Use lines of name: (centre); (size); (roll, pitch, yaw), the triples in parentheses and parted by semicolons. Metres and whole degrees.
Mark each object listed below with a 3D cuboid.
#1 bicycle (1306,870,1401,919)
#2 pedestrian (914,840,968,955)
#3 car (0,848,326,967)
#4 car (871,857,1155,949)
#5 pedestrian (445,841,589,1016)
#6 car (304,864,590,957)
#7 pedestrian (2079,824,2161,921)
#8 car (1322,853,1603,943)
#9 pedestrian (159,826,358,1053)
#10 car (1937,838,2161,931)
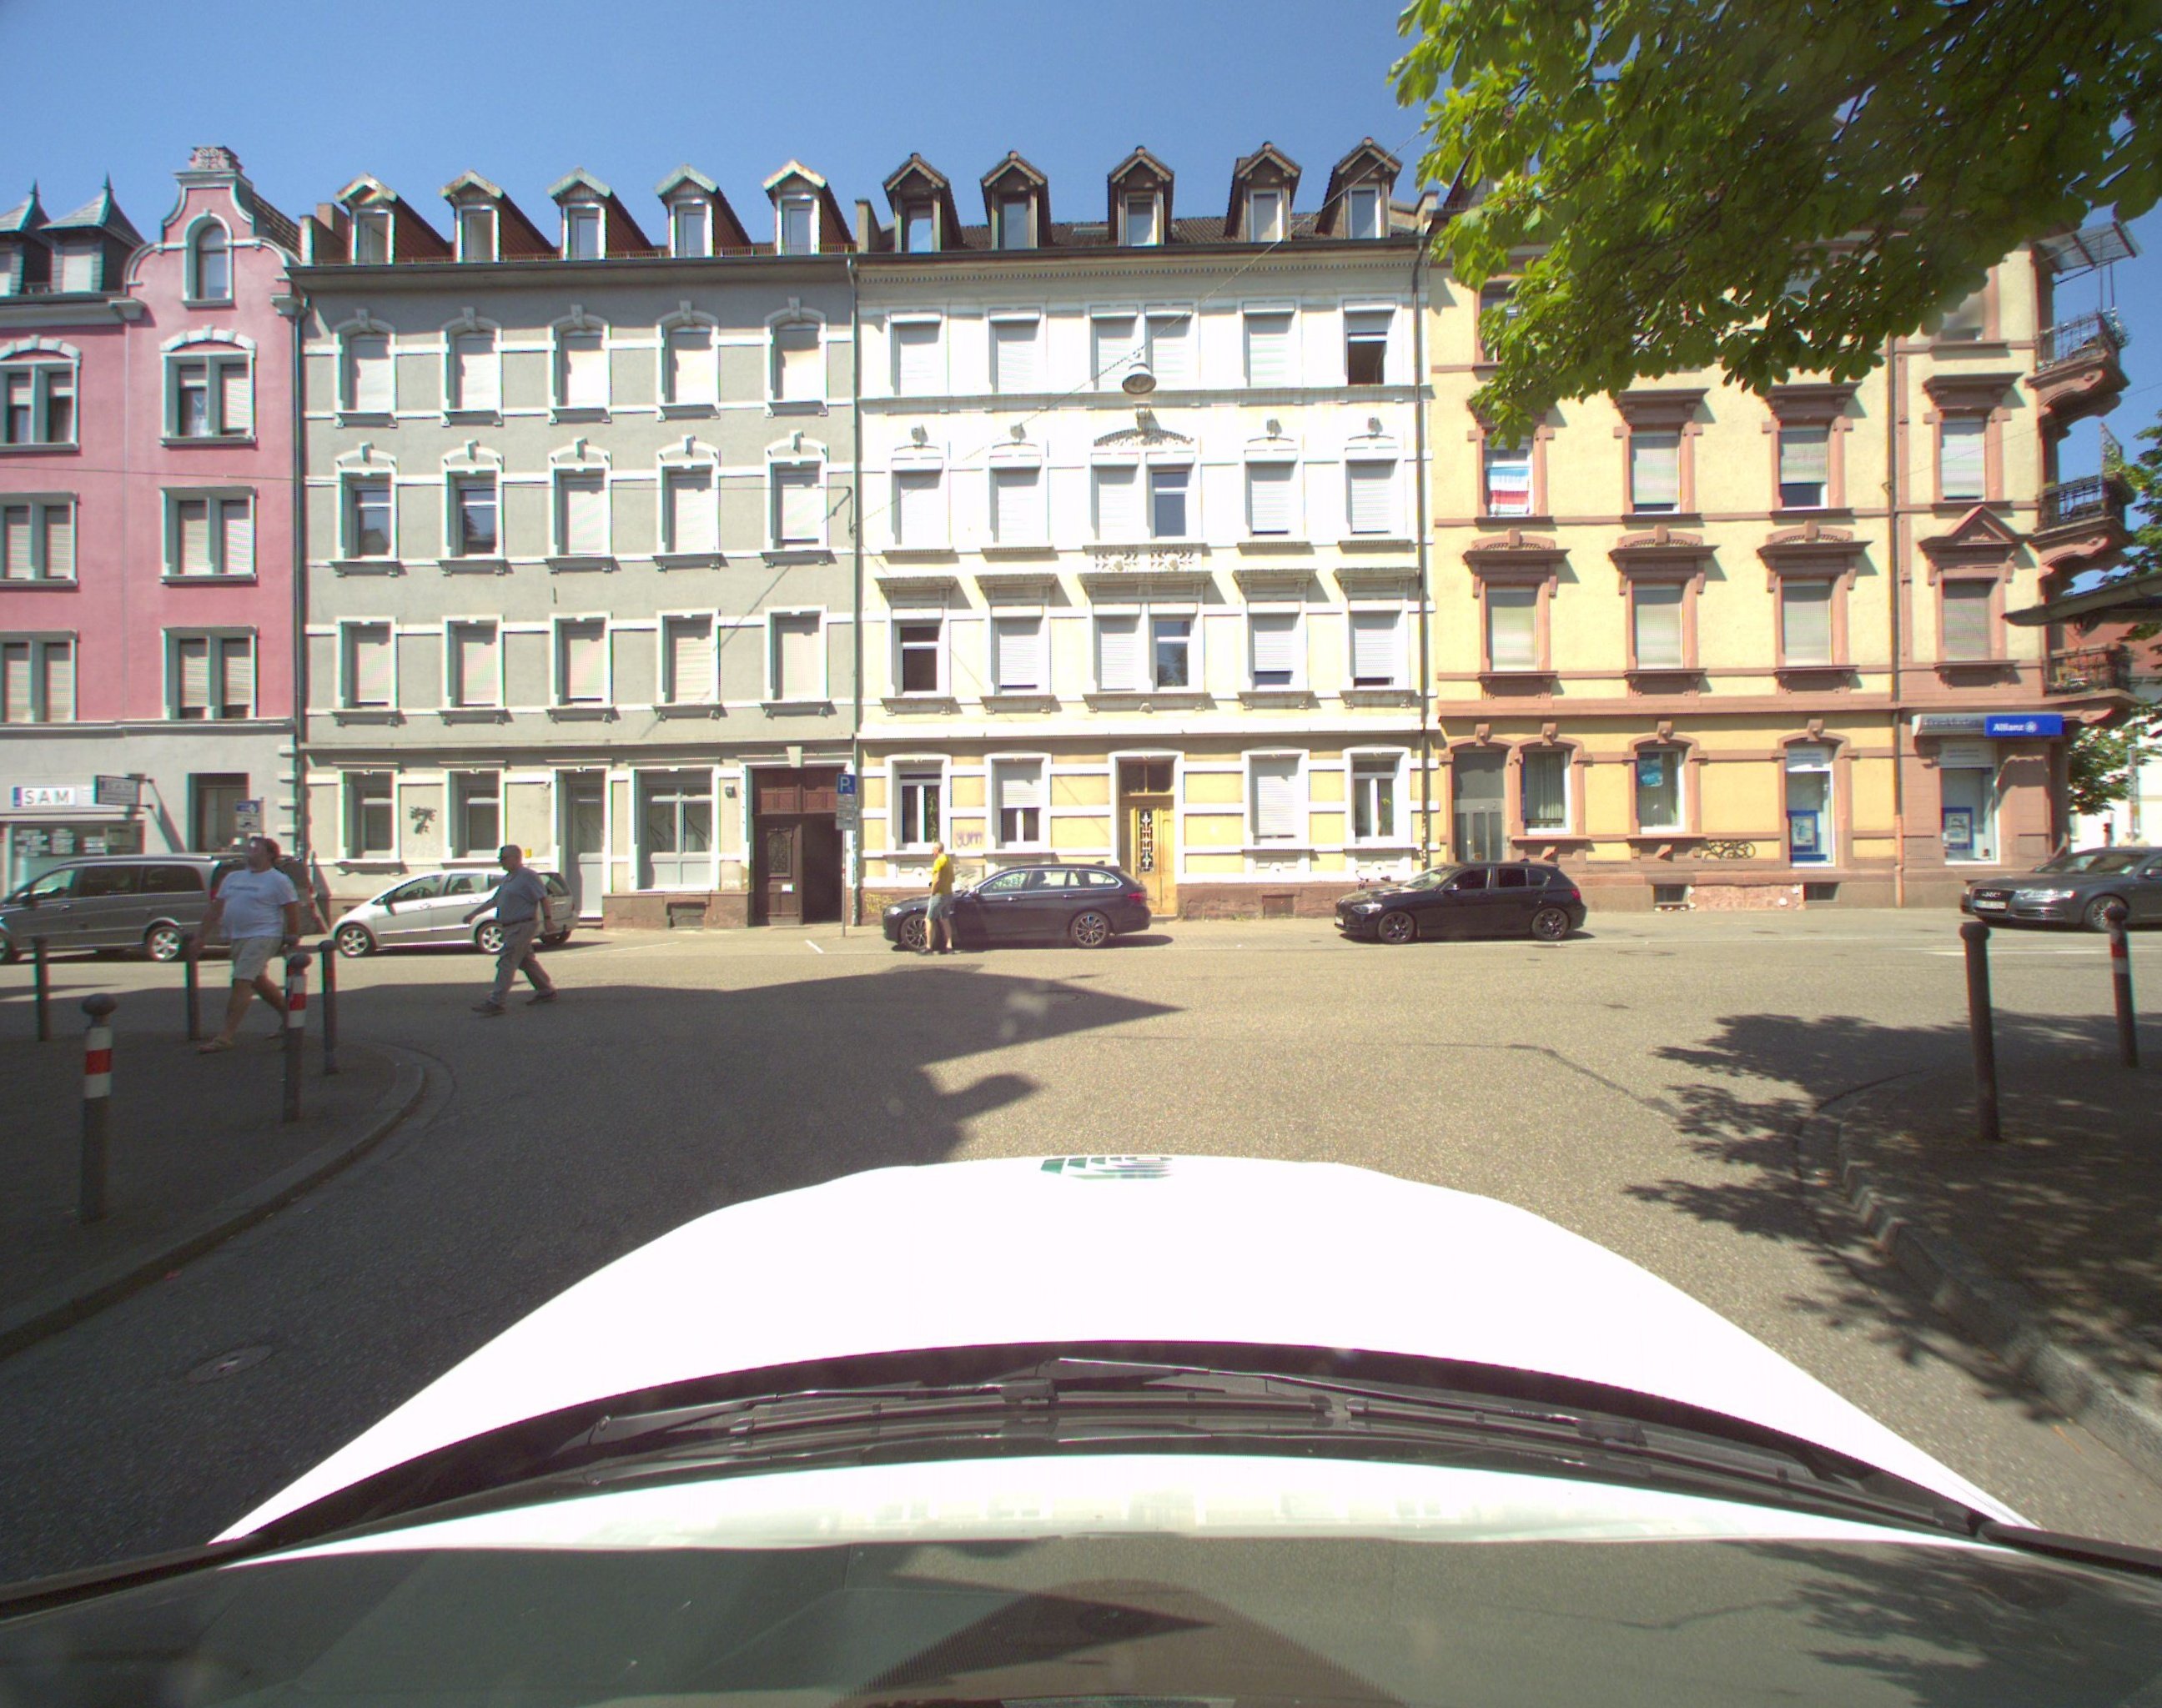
bicycle: (6.143, 0.907, 18.407); (1.998, 1.021, 0.424); (-2, 2, -1)
pedestrian: (-2.346, 0.719, 13.728); (0.722, 1.853, 0.685); (-2, -1, 2)
car: (-17.593, 0.961, 15.488); (4.688, 1.997, 1.878); (-2, 1, 1)
car: (-1.130, 0.861, 14.959); (4.840, 1.437, 2.001); (-2, -1, 2)
pedestrian: (-6.249, 0.788, 9.060); (0.893, 1.814, 0.966); (-2, -1, 24)
car: (-11.993, 1.024, 15.598); (4.032, 1.562, 1.807); (-2, -1, 1)
pedestrian: (22.613, 0.377, 17.642); (1.235, 2.014, 1.042); (-1, -1, -32)
car: (6.784, 0.755, 14.821); (4.277, 1.370, 1.808); (-2, 2, 2)
pedestrian: (-7.372, 0.730, 7.339); (0.844, 1.889, 0.938); (-2, -1, 13)
car: (18.502, 0.497, 14.551); (4.405, 1.455, 1.808); (-2, 0, 2)
